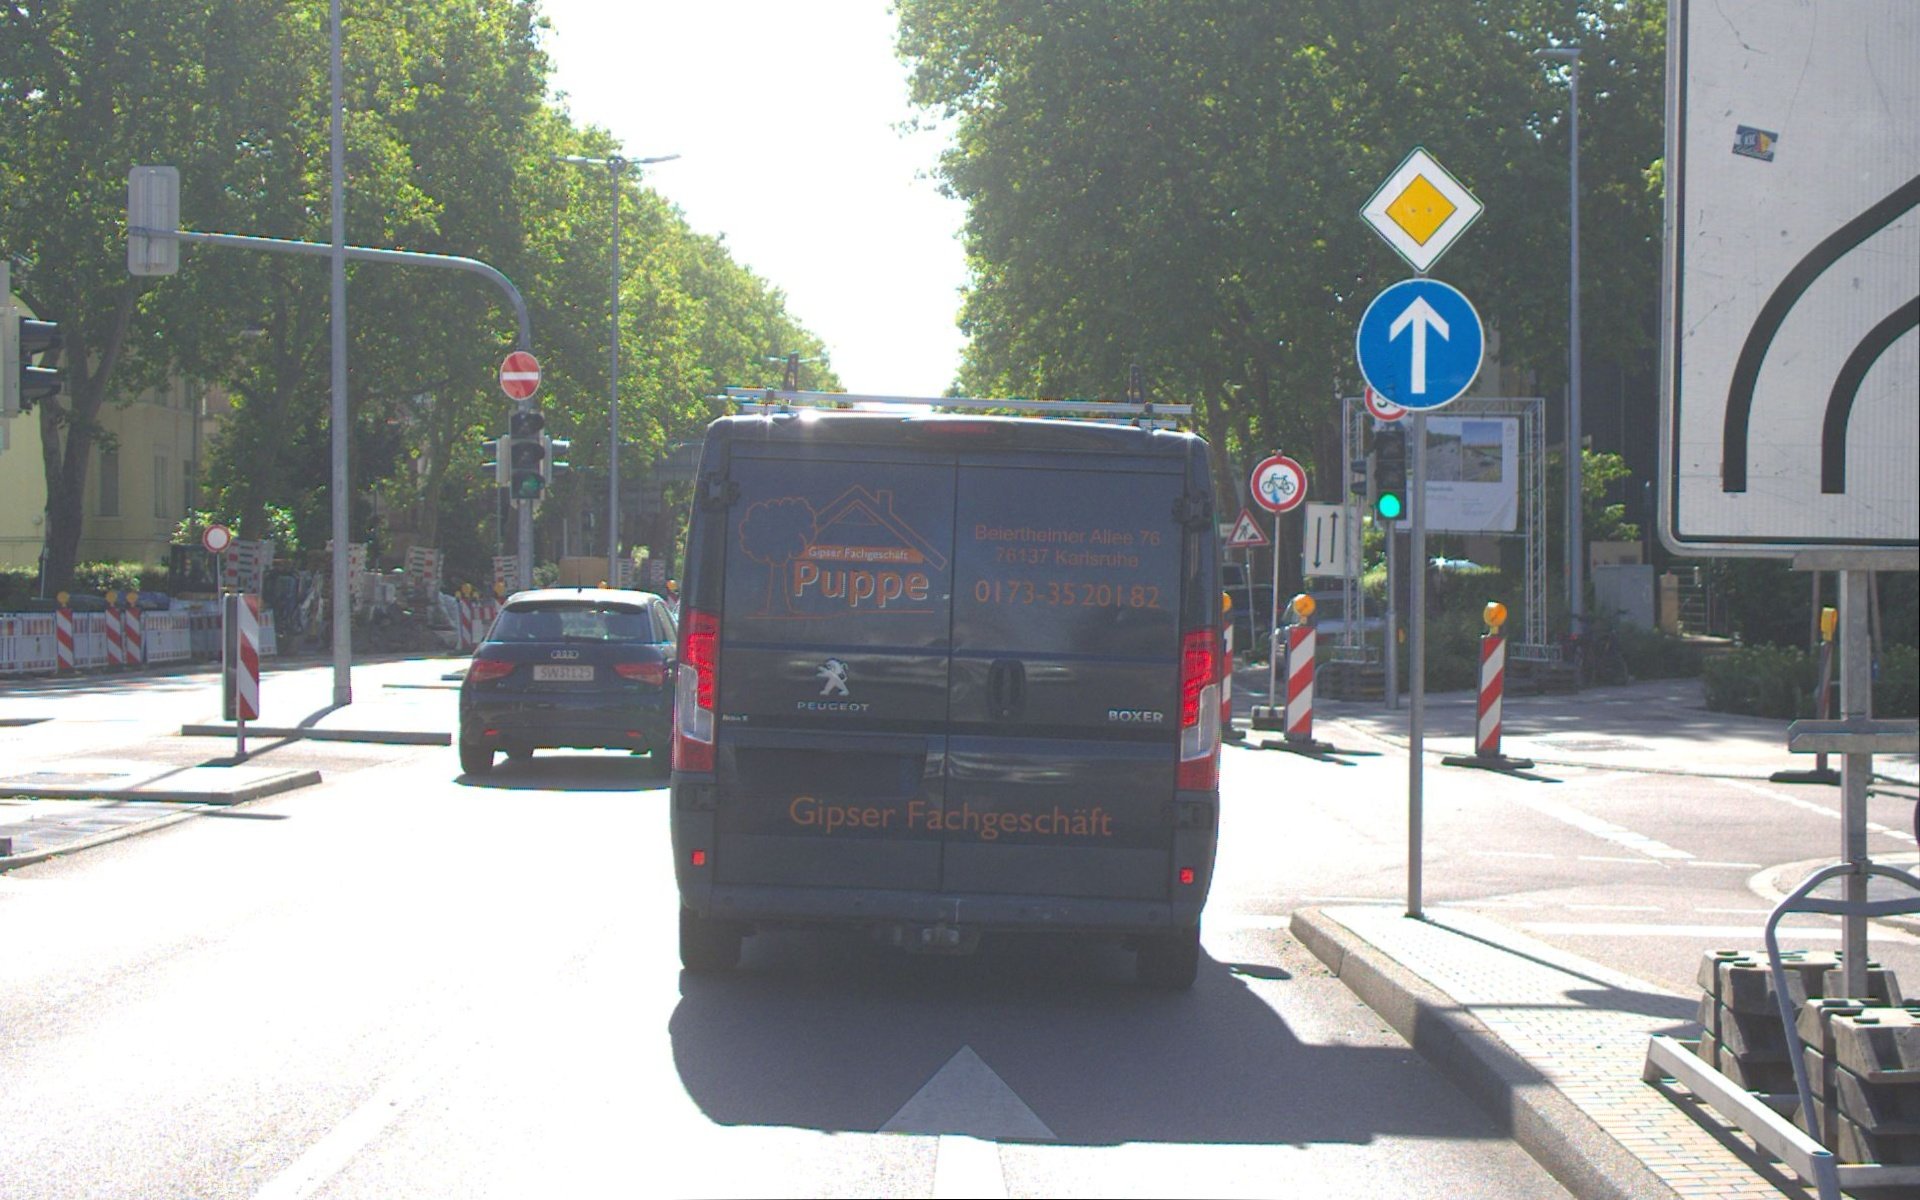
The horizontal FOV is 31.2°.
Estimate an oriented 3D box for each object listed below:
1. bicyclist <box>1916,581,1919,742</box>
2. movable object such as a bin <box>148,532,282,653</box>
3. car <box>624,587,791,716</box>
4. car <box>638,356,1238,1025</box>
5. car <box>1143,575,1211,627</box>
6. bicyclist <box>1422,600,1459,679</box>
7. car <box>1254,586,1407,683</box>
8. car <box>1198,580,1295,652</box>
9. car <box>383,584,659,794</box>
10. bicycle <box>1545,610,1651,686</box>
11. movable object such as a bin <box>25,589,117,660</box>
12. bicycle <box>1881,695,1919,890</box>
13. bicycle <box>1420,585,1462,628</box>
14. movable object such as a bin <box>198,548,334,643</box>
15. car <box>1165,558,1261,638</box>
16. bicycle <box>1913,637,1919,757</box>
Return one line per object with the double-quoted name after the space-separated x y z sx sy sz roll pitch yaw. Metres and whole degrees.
9.306 0.577 31.994 0.724 1.494 0.871 0 0 12 "bicyclist"
-17.201 -0.187 79.626 2.146 2.697 5.355 1 0 -3 "movable object such as a bin"
-2.957 0.578 40.926 1.746 1.402 4.000 2 0 -1 "car"
-0.095 0.291 14.227 2.095 2.347 3.933 1 1 0 "car"
6.515 0.029 103.406 1.821 1.502 4.677 -1 0 1 "car"
11.233 0.924 80.438 0.724 1.814 1.070 1 0 1 "bicyclist"
5.964 0.526 55.844 1.852 1.474 4.942 1 0 -1 "car"
6.235 0.329 75.069 1.763 1.503 4.251 1 0 0 "car"
-3.428 0.650 27.491 1.746 1.402 4.001 2 2 -1 "car"
8.750 0.644 47.087 0.588 1.002 2.127 1 0 35 "bicycle"
-17.084 0.463 66.088 1.410 1.333 1.156 1 0 3 "movable object such as a bin"
6.132 1.076 18.850 1.962 1.021 0.605 2 1 0 "bicycle"
11.230 0.143 80.307 0.782 0.963 1.823 1 0 2 "bicycle"
-17.272 -0.118 85.810 1.994 2.271 5.598 -1 0 3 "movable object such as a bin"
6.347 -0.054 86.747 2.026 1.940 5.273 0 0 0 "car"
9.293 0.911 32.051 0.689 1.094 1.686 0 1 12 "bicycle"
